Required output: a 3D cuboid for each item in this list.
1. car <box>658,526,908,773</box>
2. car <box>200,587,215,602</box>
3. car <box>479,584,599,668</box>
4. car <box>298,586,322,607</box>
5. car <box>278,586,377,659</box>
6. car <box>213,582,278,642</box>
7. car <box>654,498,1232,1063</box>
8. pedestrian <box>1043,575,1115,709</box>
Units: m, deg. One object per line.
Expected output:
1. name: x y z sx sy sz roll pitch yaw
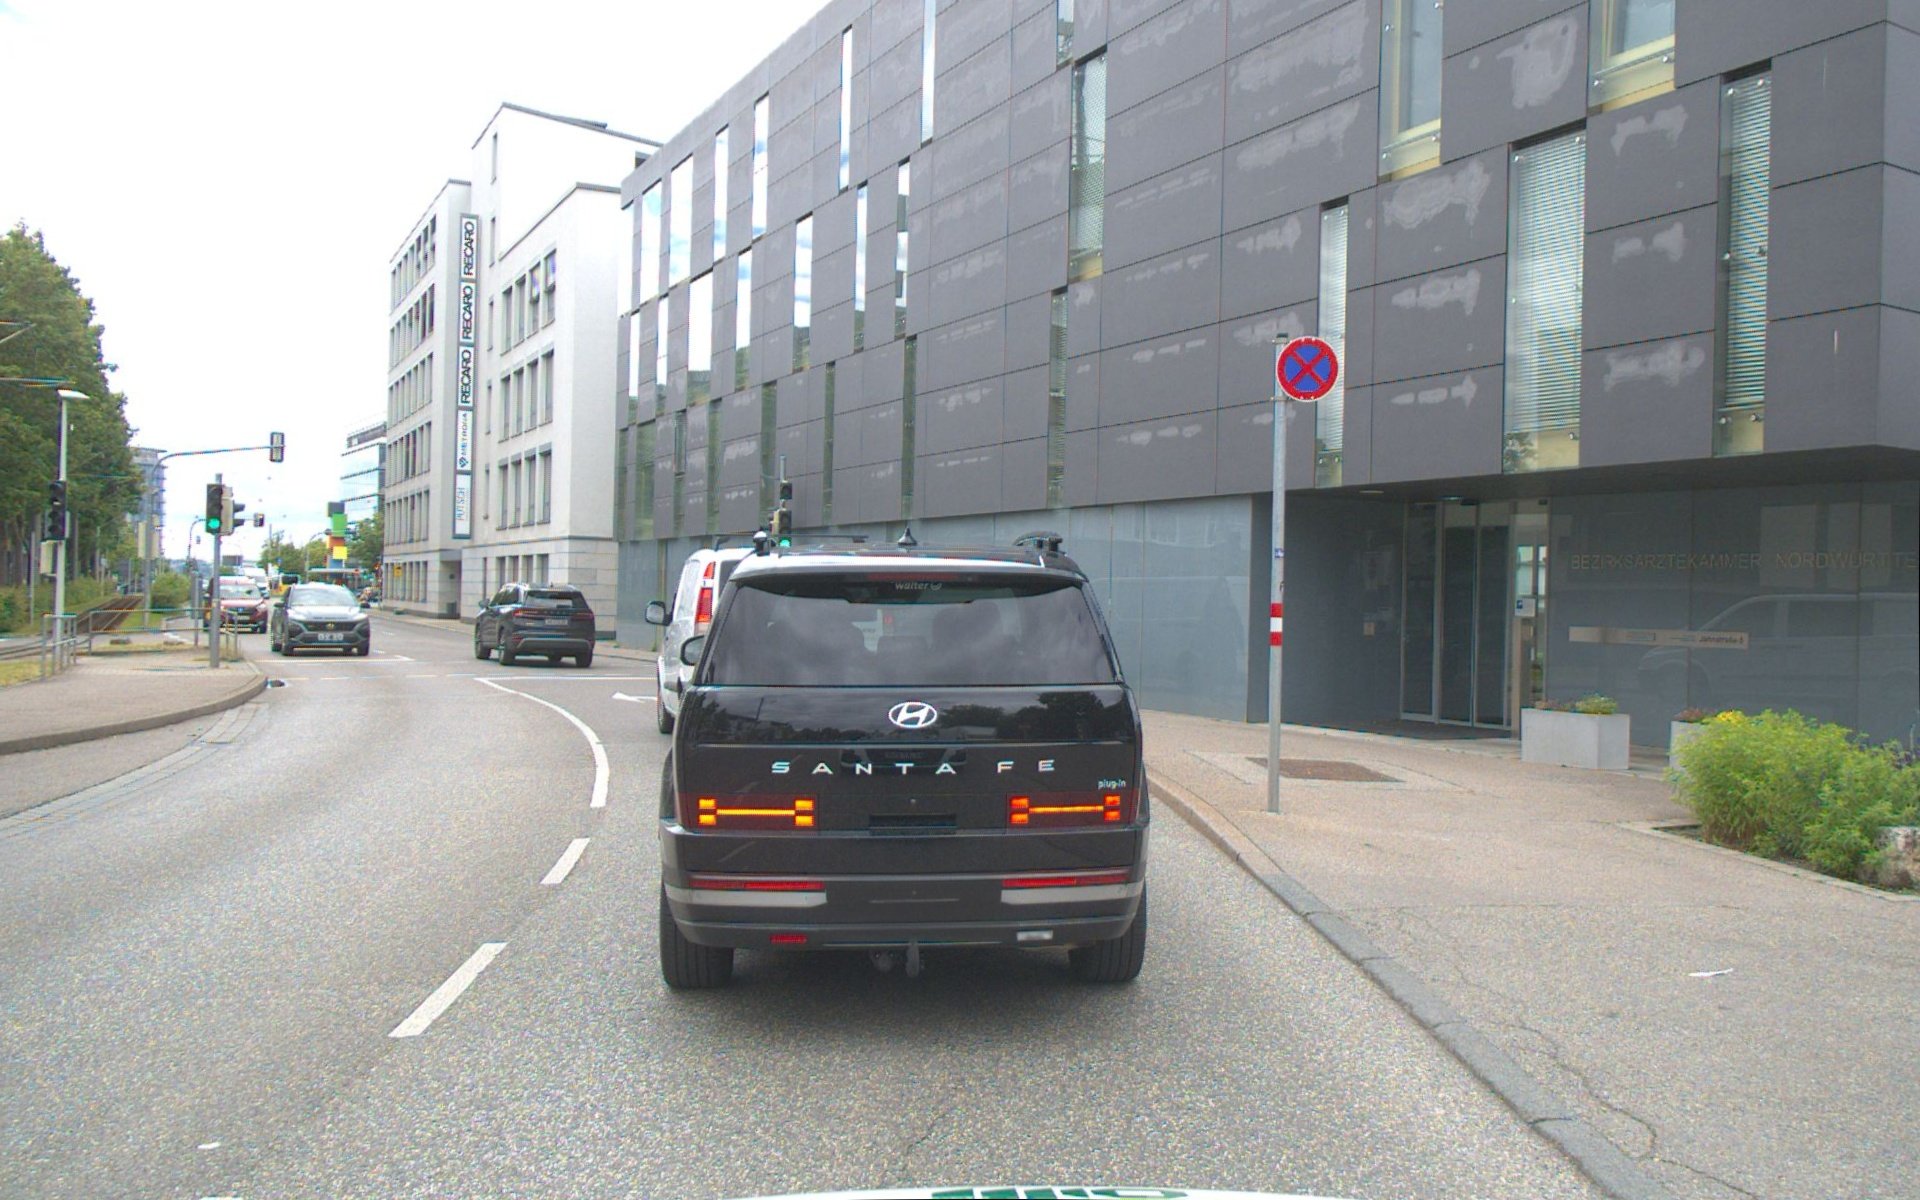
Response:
1. car: -1.863 0.411 16.020 1.898 2.029 4.520 1 0 -13
2. car: -96.391 -0.701 211.946 1.645 1.915 3.969 1 0 -24
3. car: -8.814 0.500 34.394 1.736 1.637 4.156 1 0 -24
4. car: -53.160 -0.304 135.171 1.735 1.637 4.159 1 0 -23
5. car: -14.259 0.470 37.171 1.746 1.504 3.966 -1 0 -26
6. car: -23.274 0.364 53.788 1.661 1.840 4.313 -1 0 -27
7. car: -0.287 0.564 7.518 1.872 1.780 4.390 0 0 -7
8. pedestrian: 1.571 0.547 21.895 0.845 1.724 0.714 2 -1 0
